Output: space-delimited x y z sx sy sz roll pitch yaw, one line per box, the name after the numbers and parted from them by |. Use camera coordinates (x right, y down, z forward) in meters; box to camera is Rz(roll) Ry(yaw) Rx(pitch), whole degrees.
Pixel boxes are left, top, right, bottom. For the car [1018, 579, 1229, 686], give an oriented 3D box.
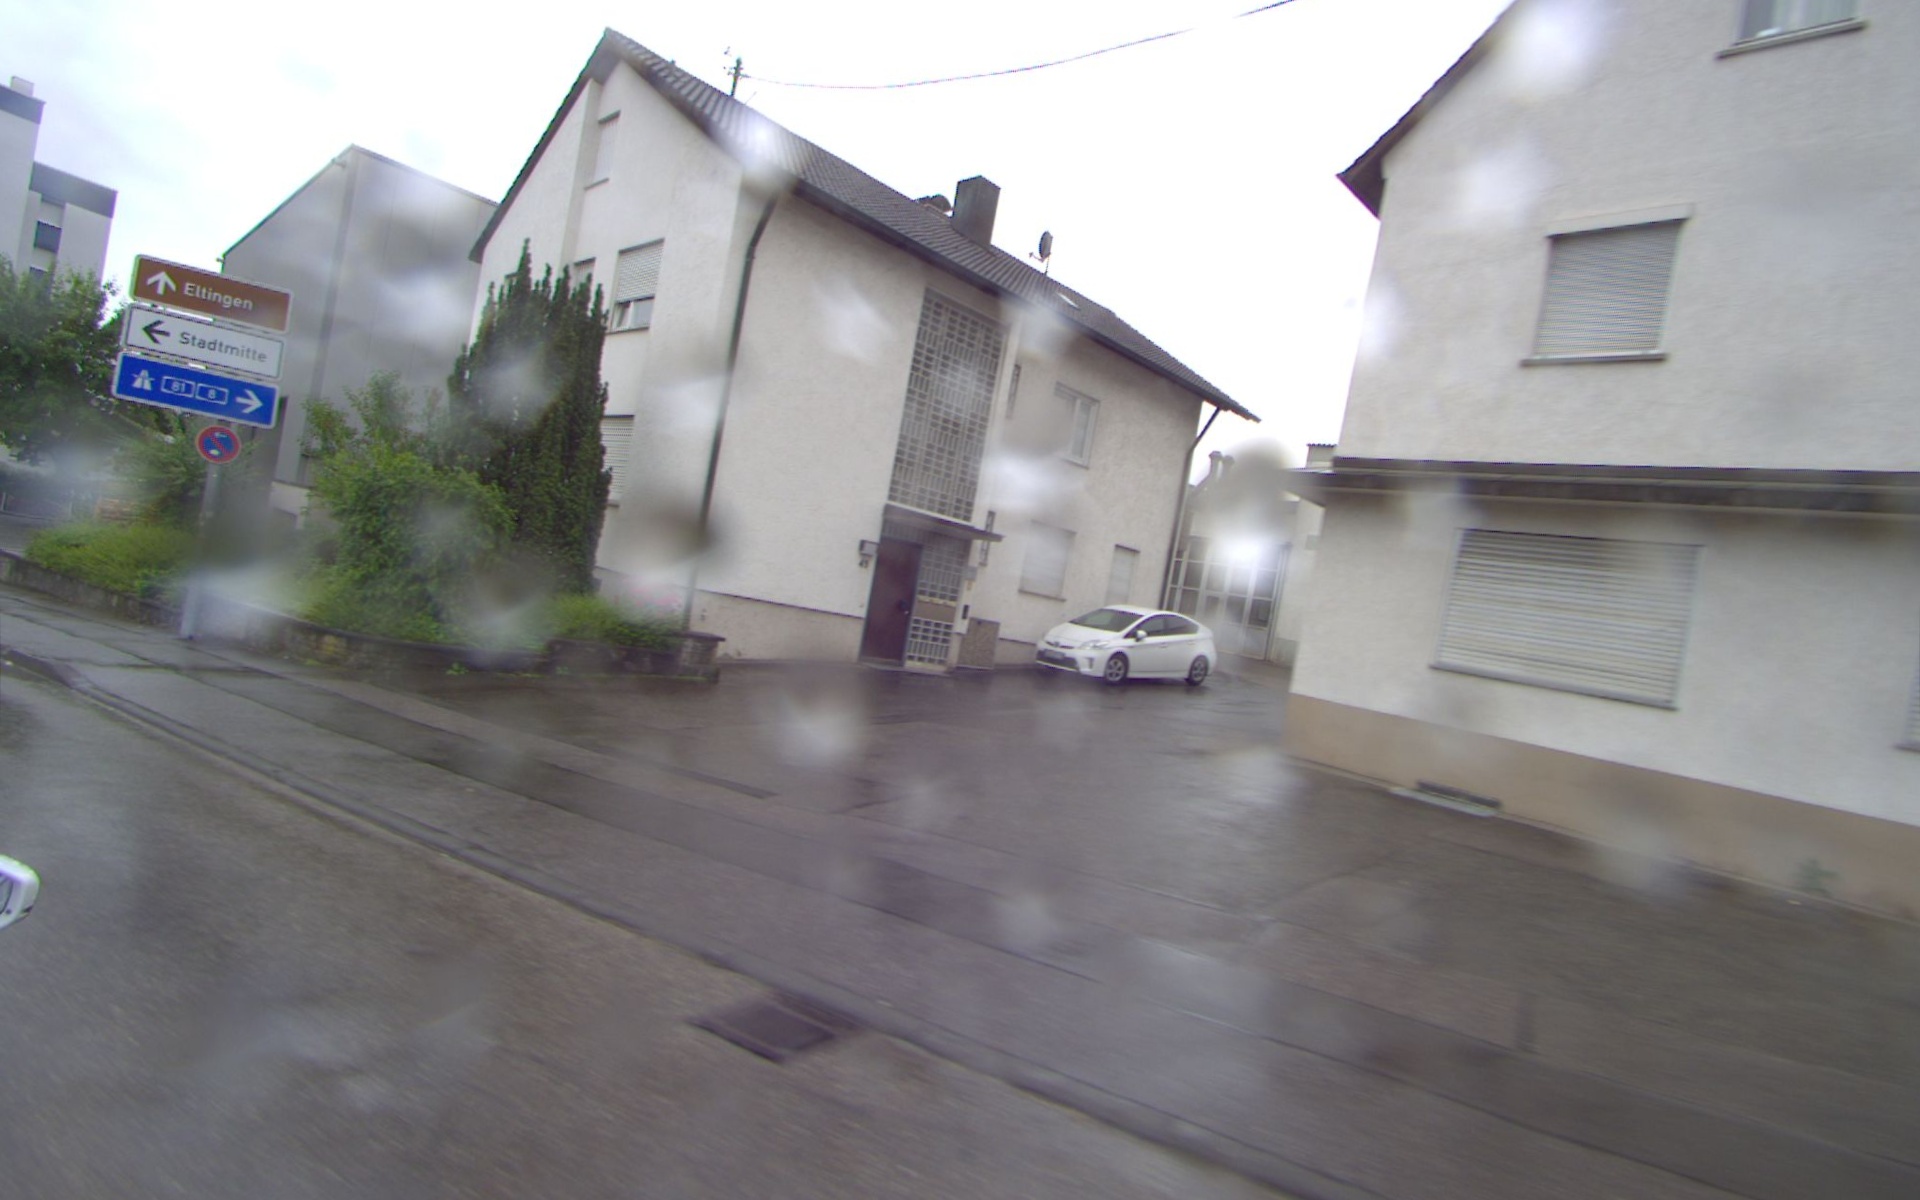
3.407 0.709 20.568 4.267 1.618 1.781 7 2 -41 | car
